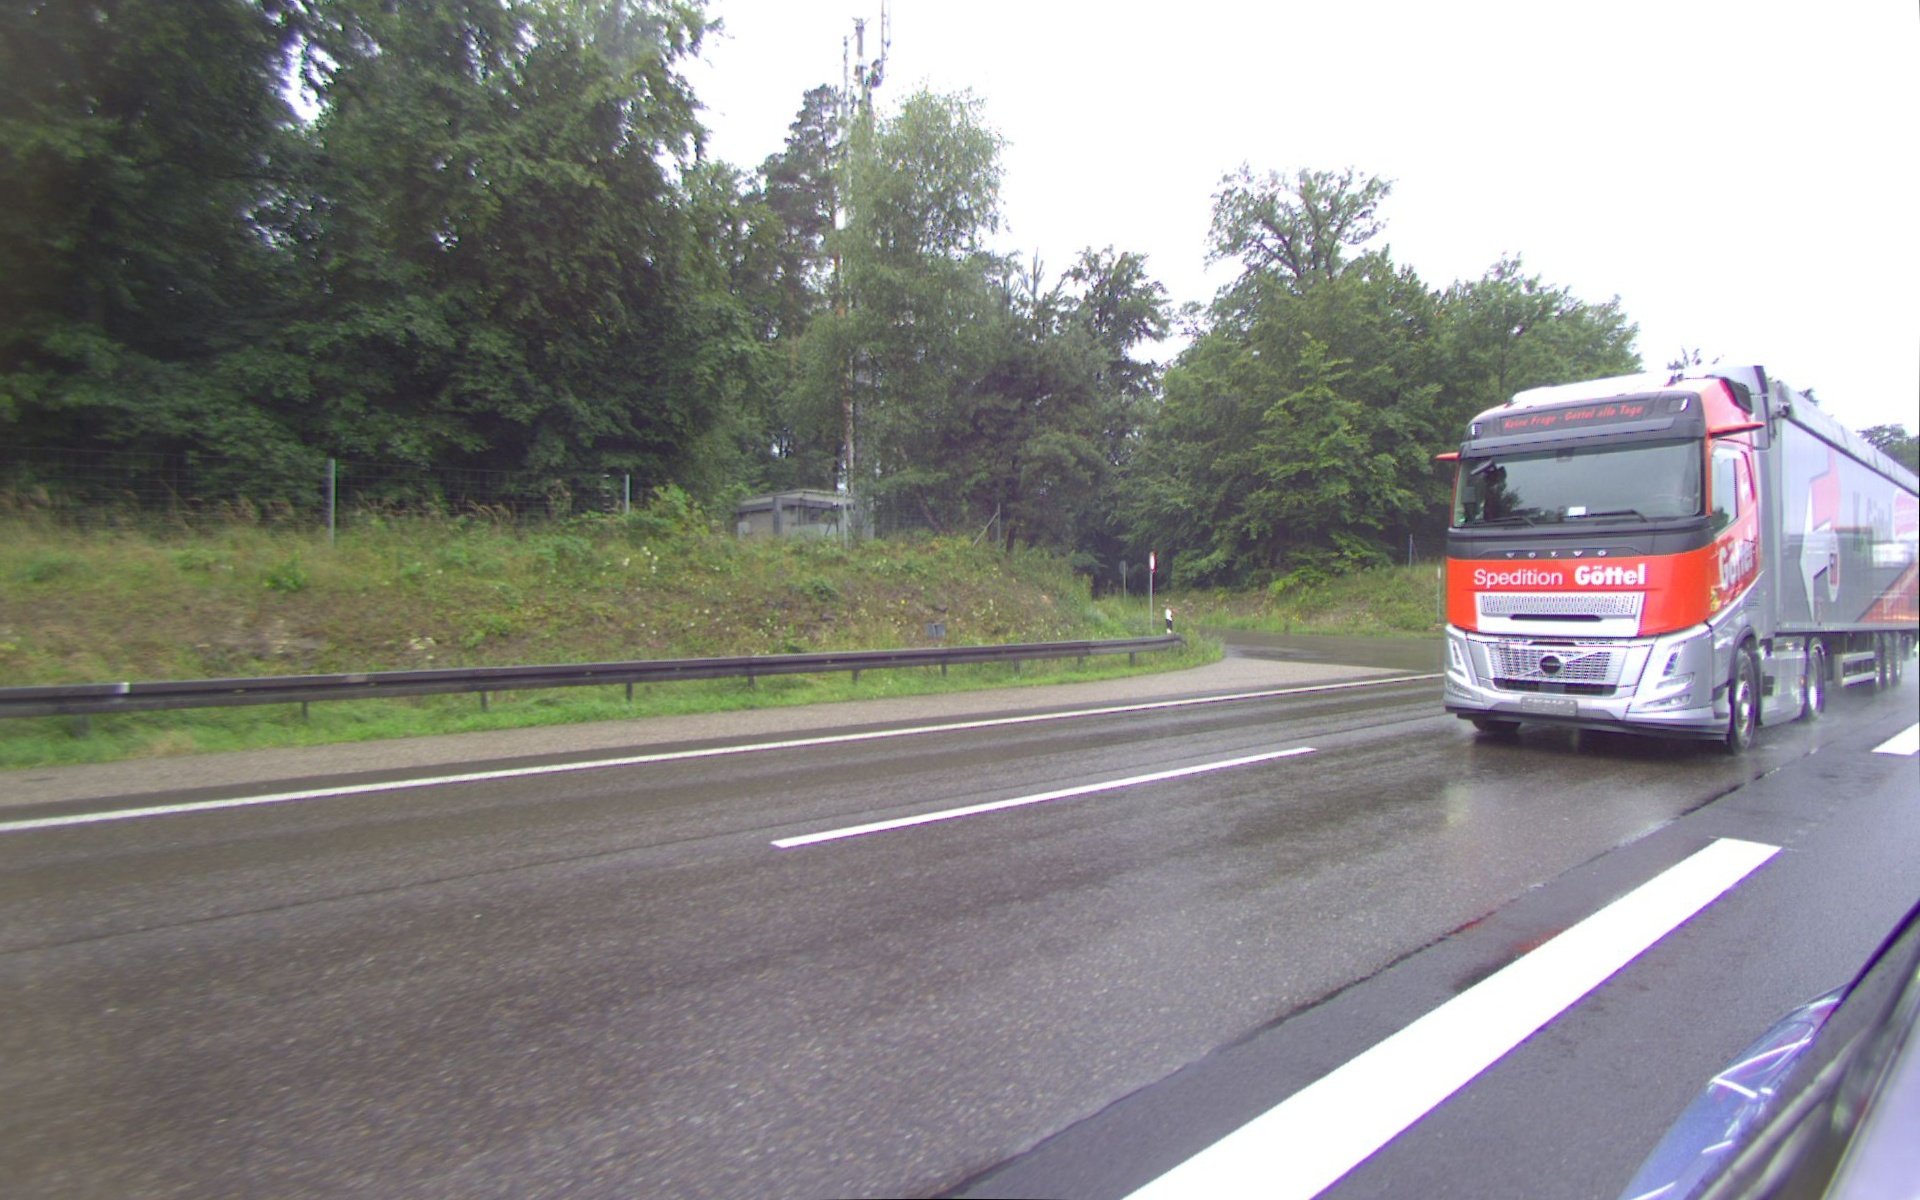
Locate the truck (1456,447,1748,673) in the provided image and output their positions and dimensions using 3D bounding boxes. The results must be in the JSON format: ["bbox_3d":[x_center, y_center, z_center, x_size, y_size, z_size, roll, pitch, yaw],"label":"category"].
[{"bbox_3d":[14.329,-0.733,22.107,9.764,4.007,2.606,0,0,-40],"label":"truck"}]

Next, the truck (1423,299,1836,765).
[{"bbox_3d":[7.800,-0.601,11.531,5.503,4.007,2.605,0,0,-42],"label":"truck"}]

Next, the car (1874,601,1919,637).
[{"bbox_3d":[44.429,0.874,47.374,4.328,1.583,1.863,0,0,-40],"label":"car"}]

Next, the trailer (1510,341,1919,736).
[{"bbox_3d":[12.914,-0.654,15.978,14.326,4.007,2.606,0,0,-41],"label":"trailer"}]
